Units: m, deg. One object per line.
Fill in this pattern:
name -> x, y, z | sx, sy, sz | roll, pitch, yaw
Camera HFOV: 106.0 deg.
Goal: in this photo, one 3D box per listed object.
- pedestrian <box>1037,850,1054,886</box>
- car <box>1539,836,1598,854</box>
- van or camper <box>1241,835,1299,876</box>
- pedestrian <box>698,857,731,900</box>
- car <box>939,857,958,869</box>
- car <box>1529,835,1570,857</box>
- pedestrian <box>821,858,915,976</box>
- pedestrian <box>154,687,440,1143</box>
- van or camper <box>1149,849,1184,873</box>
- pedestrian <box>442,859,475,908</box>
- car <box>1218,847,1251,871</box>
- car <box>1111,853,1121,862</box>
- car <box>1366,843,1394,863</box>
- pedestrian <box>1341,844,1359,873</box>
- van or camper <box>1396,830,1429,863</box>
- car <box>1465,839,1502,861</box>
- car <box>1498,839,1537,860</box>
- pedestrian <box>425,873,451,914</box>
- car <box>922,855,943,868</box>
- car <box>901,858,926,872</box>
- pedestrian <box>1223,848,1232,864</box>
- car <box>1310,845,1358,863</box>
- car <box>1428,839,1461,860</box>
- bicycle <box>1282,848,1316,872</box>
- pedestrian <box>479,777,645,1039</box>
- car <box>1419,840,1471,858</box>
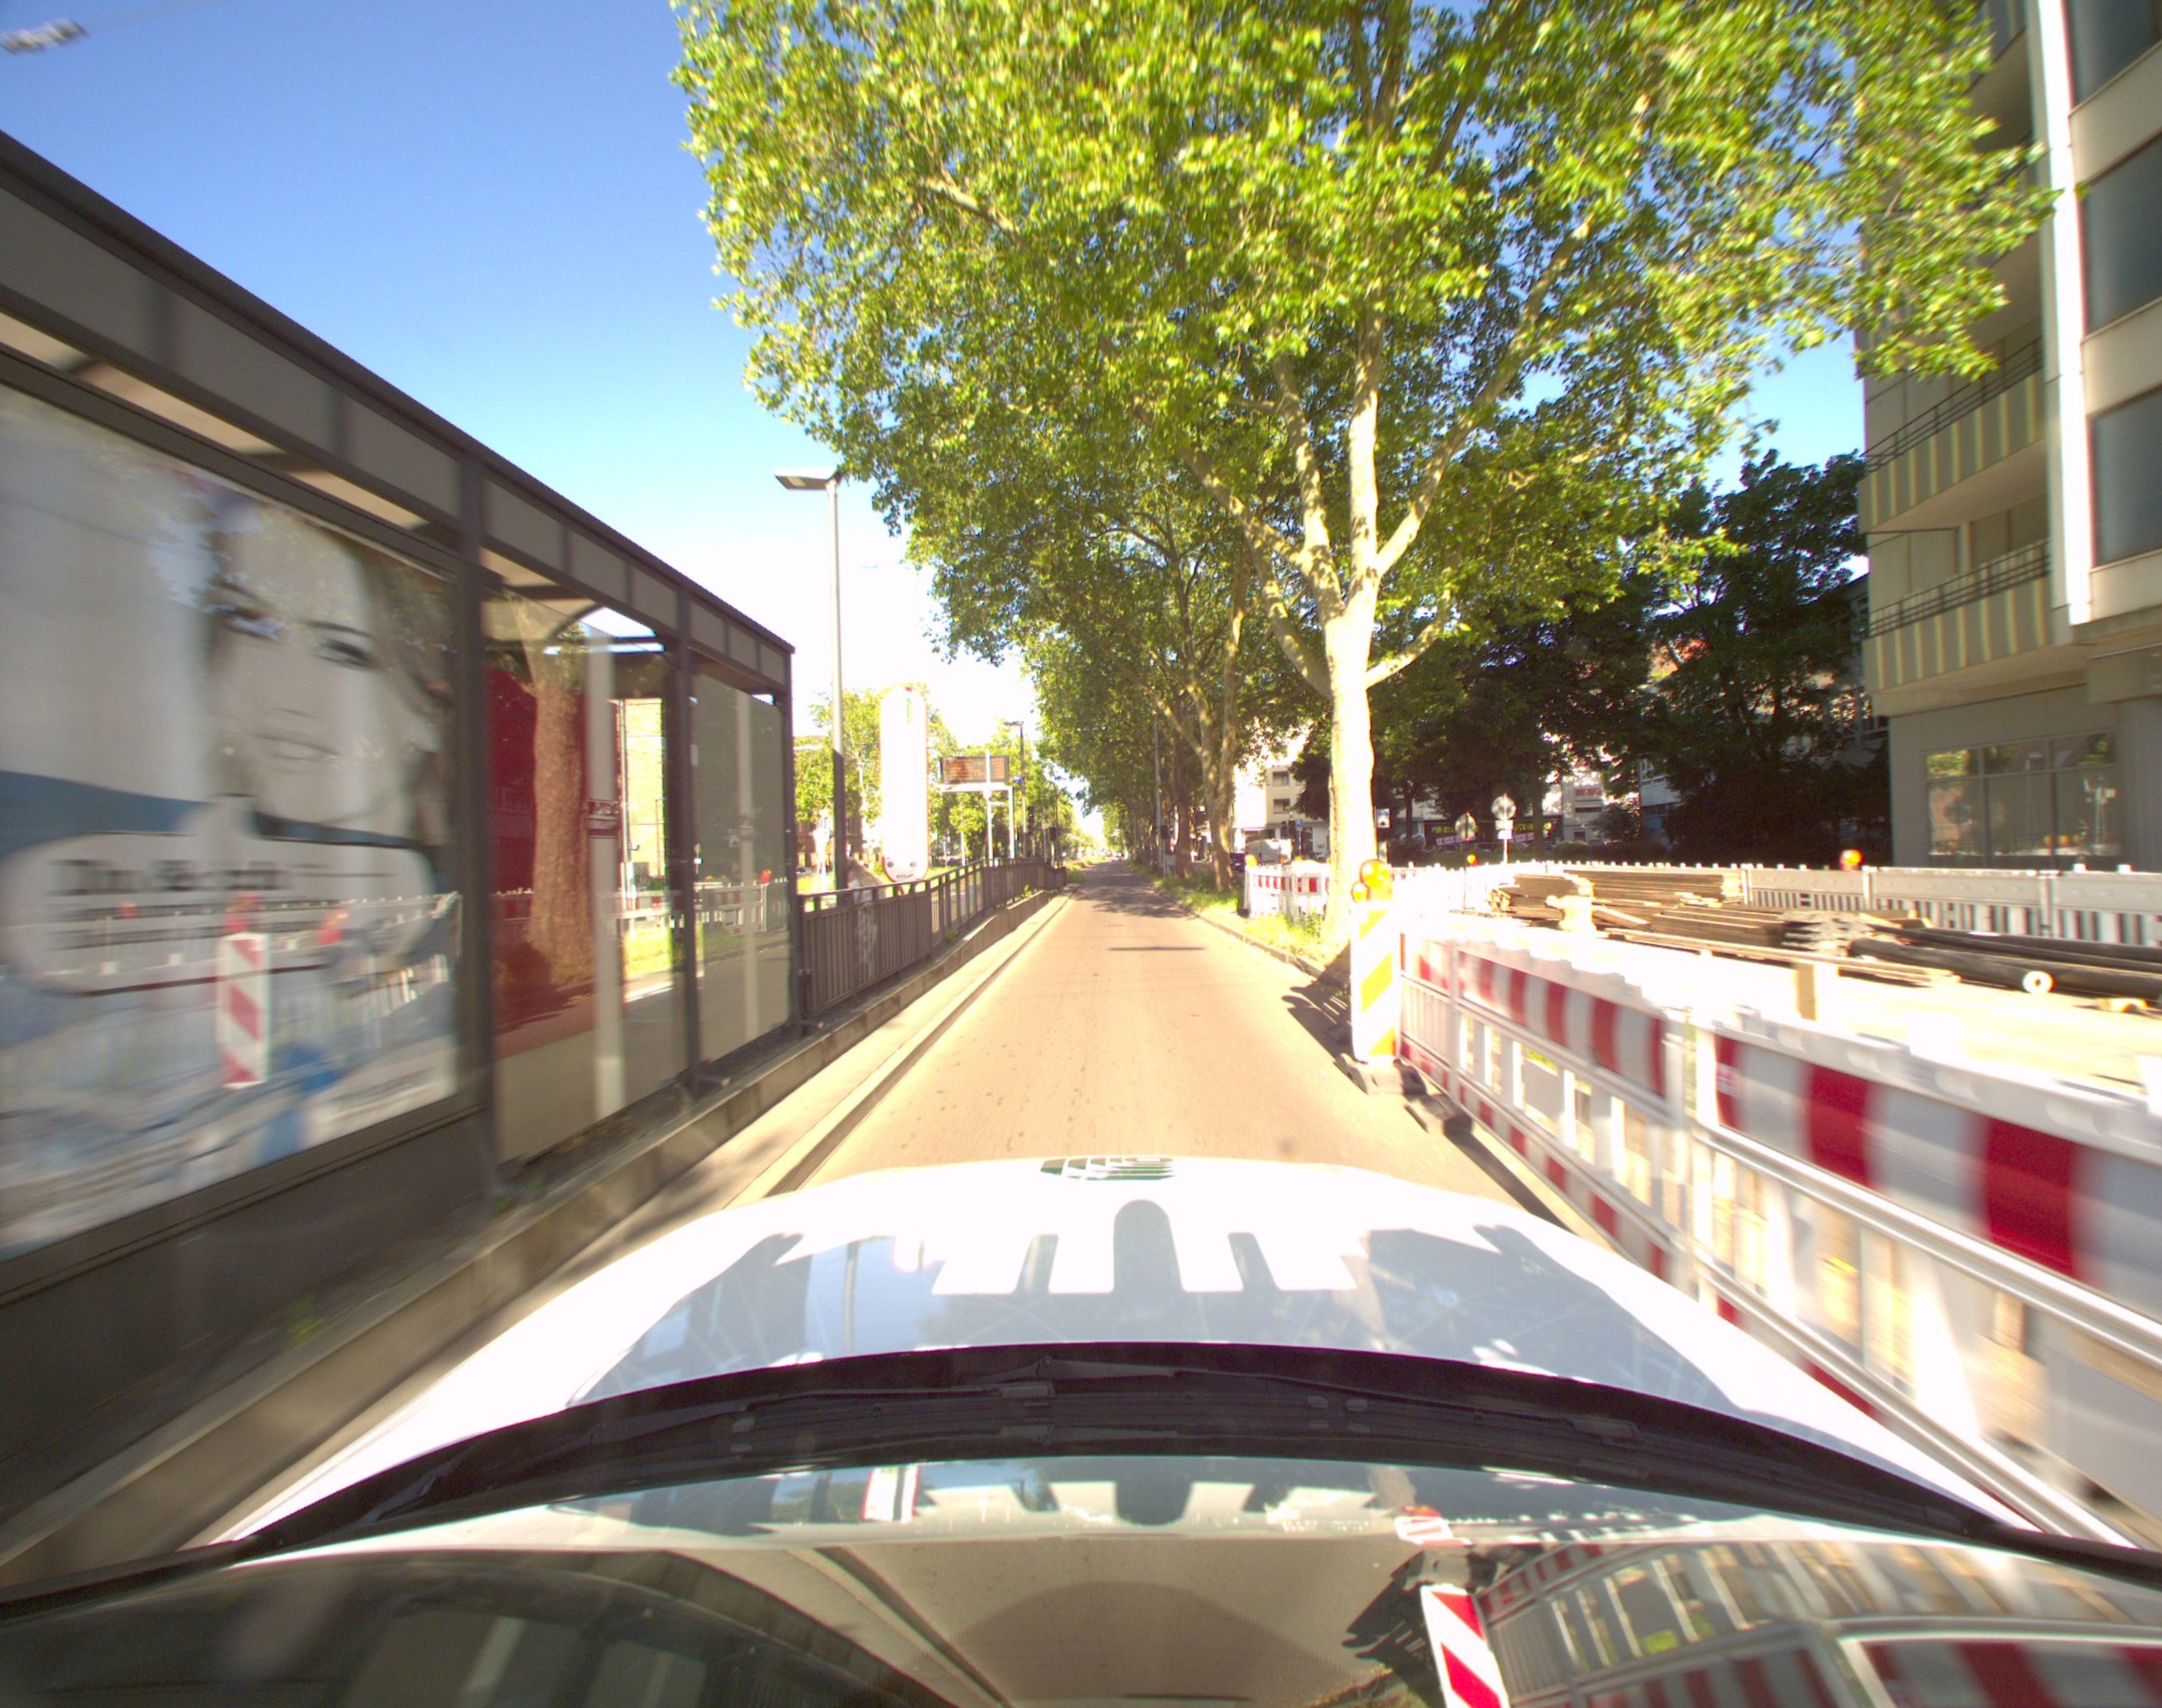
pedestrian -> -1.675, 0.657, 38.349 | 0.709, 1.680, 0.772 | -2, 0, 1
car -> 45.063, -0.812, 75.362 | 4.346, 1.537, 2.009 | -1, 0, 18
van or camper -> 11.294, 0.085, 49.131 | 2.282, 2.286, 5.825 | -1, 0, 2
pedestrian -> -15.342, 1.030, 34.092 | 0.948, 1.736, 0.731 | -2, 0, 4
car -> -21.062, 1.365, 129.638 | 2.101, 1.809, 4.740 | -2, 0, 1
car -> 38.241, -0.640, 66.591 | 1.978, 1.628, 4.409 | -2, 0, 17
pedestrian -> -2.243, 0.644, 8.666 | 0.749, 1.179, 0.813 | -1, 0, 1
pedestrian -> -3.767, 0.273, 3.975 | 0.665, 2.013, 0.717 | -1, 0, 3
van or camper -> 6.053, 0.488, 57.932 | 1.503, 1.588, 2.826 | -2, 0, -15
pedestrian -> -25.820, 1.215, 33.785 | 0.660, 2.013, 0.861 | -2, 0, 1
car -> 12.098, 0.378, 64.660 | 1.812, 1.742, 5.170 | -2, 0, 2
car -> 7.048, 0.637, 163.034 | 2.014, 1.662, 4.002 | -1, 0, 2
car -> 25.680, -0.115, 70.096 | 1.978, 1.628, 4.409 | -2, 0, 17
pedestrian -> 15.517, 0.258, 47.014 | 0.729, 1.616, 1.036 | -2, 0, 2
van or camper -> 28.196, -0.632, 69.362 | 2.130, 2.636, 5.614 | -2, 0, 18
car -> 33.525, -0.340, 67.992 | 1.978, 1.669, 4.766 | -2, 0, 17
car -> 35.966, -0.374, 67.267 | 1.978, 1.628, 4.409 | -2, 0, 17
pedestrian -> -29.594, 1.826, 37.503 | 0.690, 1.837, 0.573 | -2, 0, 1
car -> -21.560, 1.120, 118.573 | 1.759, 1.719, 4.428 | -2, 0, 6
car -> -22.166, 1.491, 107.924 | 1.985, 1.649, 4.831 | -2, 1, 3
pedestrian -> 15.493, 0.216, 85.995 | 0.792, 1.704, 0.724 | -2, 0, 2
car -> 25.276, -0.007, 81.440 | 4.550, 1.581, 2.009 | -1, 0, 17
car -> 30.498, -0.384, 68.455 | 1.978, 1.669, 4.766 | -2, 0, 17
bicycle -> 12.165, 0.341, 45.389 | 1.600, 1.263, 0.962 | -2, 0, -3
pedestrian -> -3.752, 0.370, 5.945 | 0.679, 1.784, 0.755 | -1, 0, 3
car -> 34.941, -0.479, 78.256 | 4.346, 1.537, 2.009 | -1, 0, 18
